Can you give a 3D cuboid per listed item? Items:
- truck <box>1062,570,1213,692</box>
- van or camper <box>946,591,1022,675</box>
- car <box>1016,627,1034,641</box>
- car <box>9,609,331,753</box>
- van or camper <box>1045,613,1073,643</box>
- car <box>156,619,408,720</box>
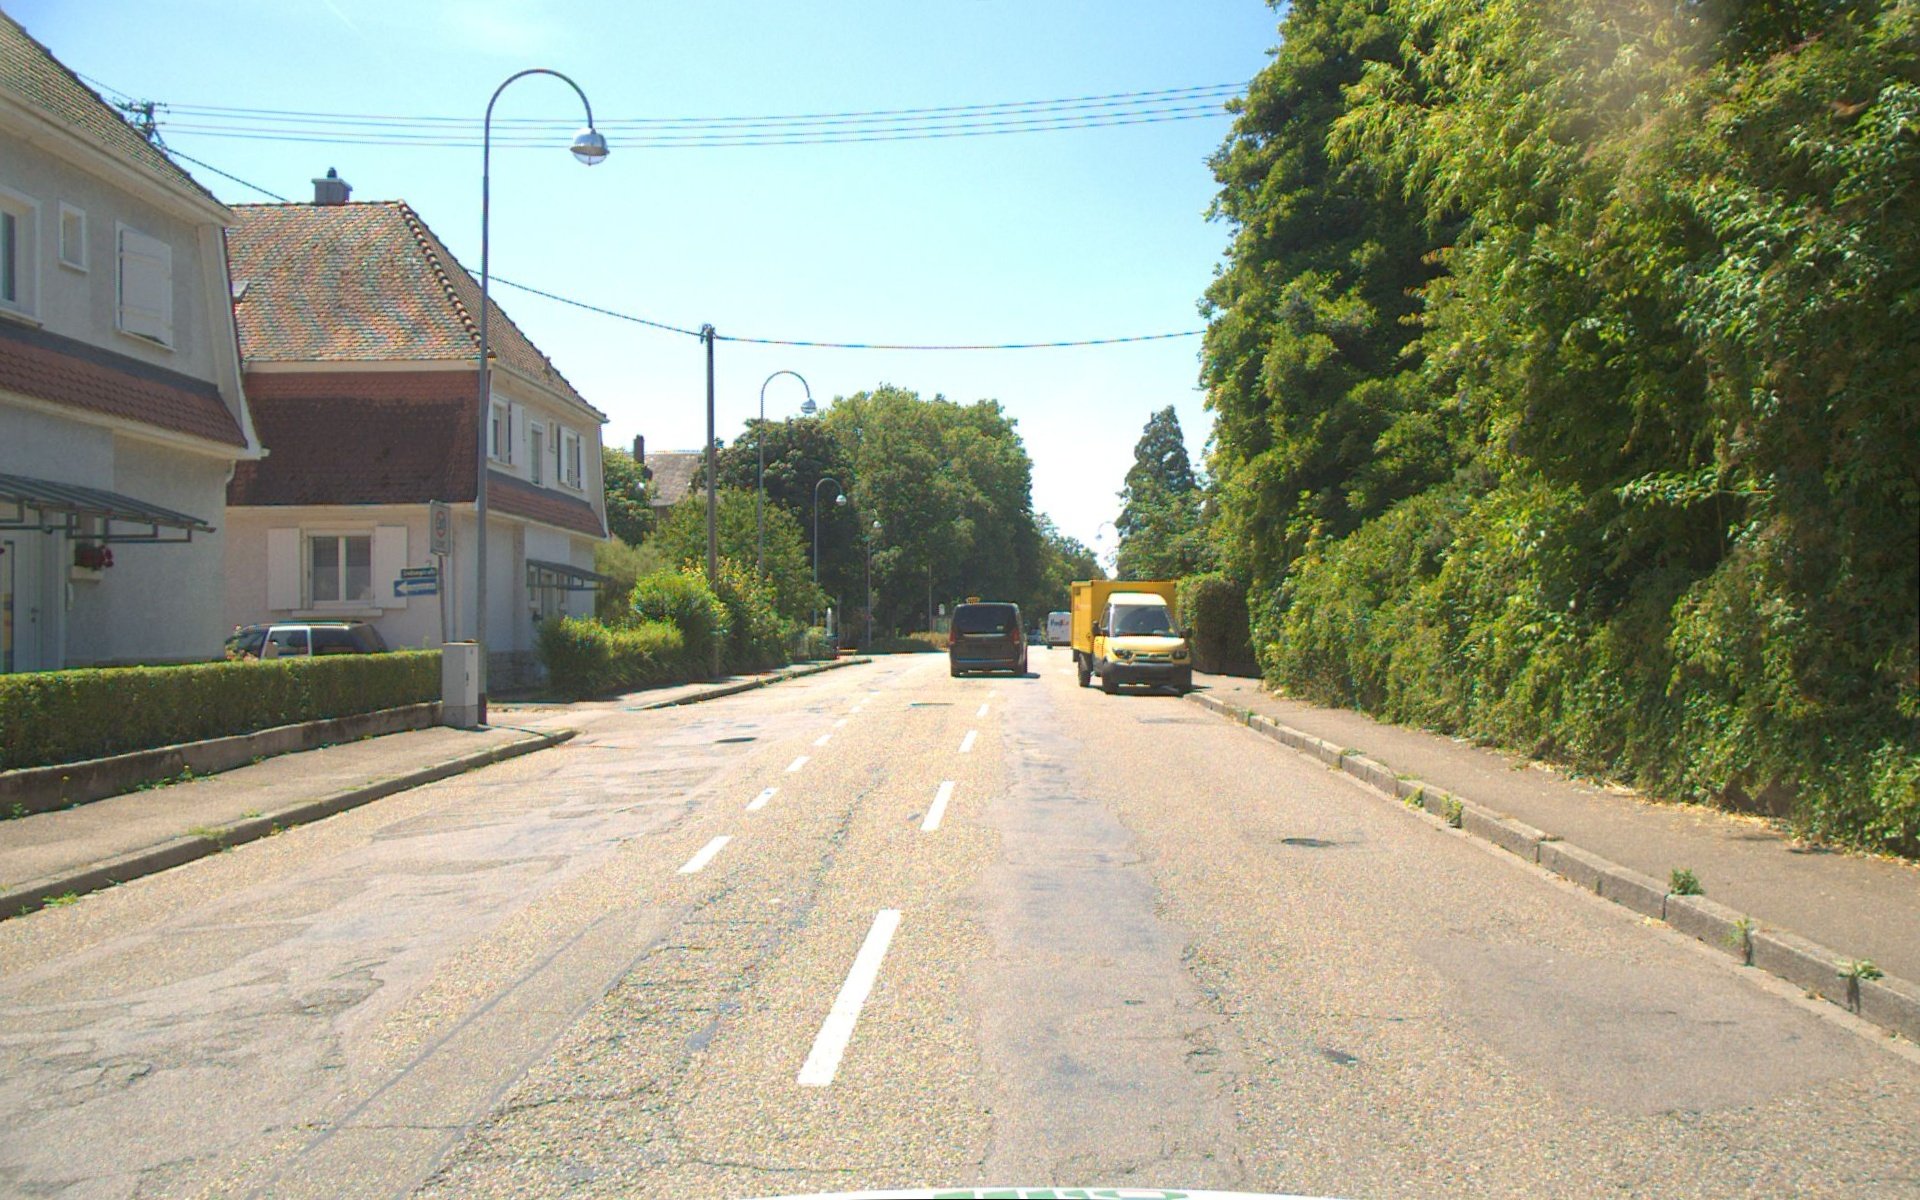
[{"bbox_3d":[3.604,0.638,34.895,2.308,2.298,6.089,-1,-1,-2],"label":"truck"},{"bbox_3d":[0.672,0.842,43.440,1.863,2.049,5.271,0,-1,2],"label":"van or camper"},{"bbox_3d":[7.045,3.630,178.486,1.515,1.474,3.008,-1,-1,10],"label":"car"},{"bbox_3d":[-11.554,1.154,24.368,3.787,1.938,1.880,-2,-1,1],"label":"car"},{"bbox_3d":[7.162,1.997,119.086,1.952,2.049,4.002,-1,-1,4],"label":"van or camper"},{"bbox_3d":[-12.347,1.248,30.283,3.787,1.670,1.880,-2,-1,1],"label":"car"}]
